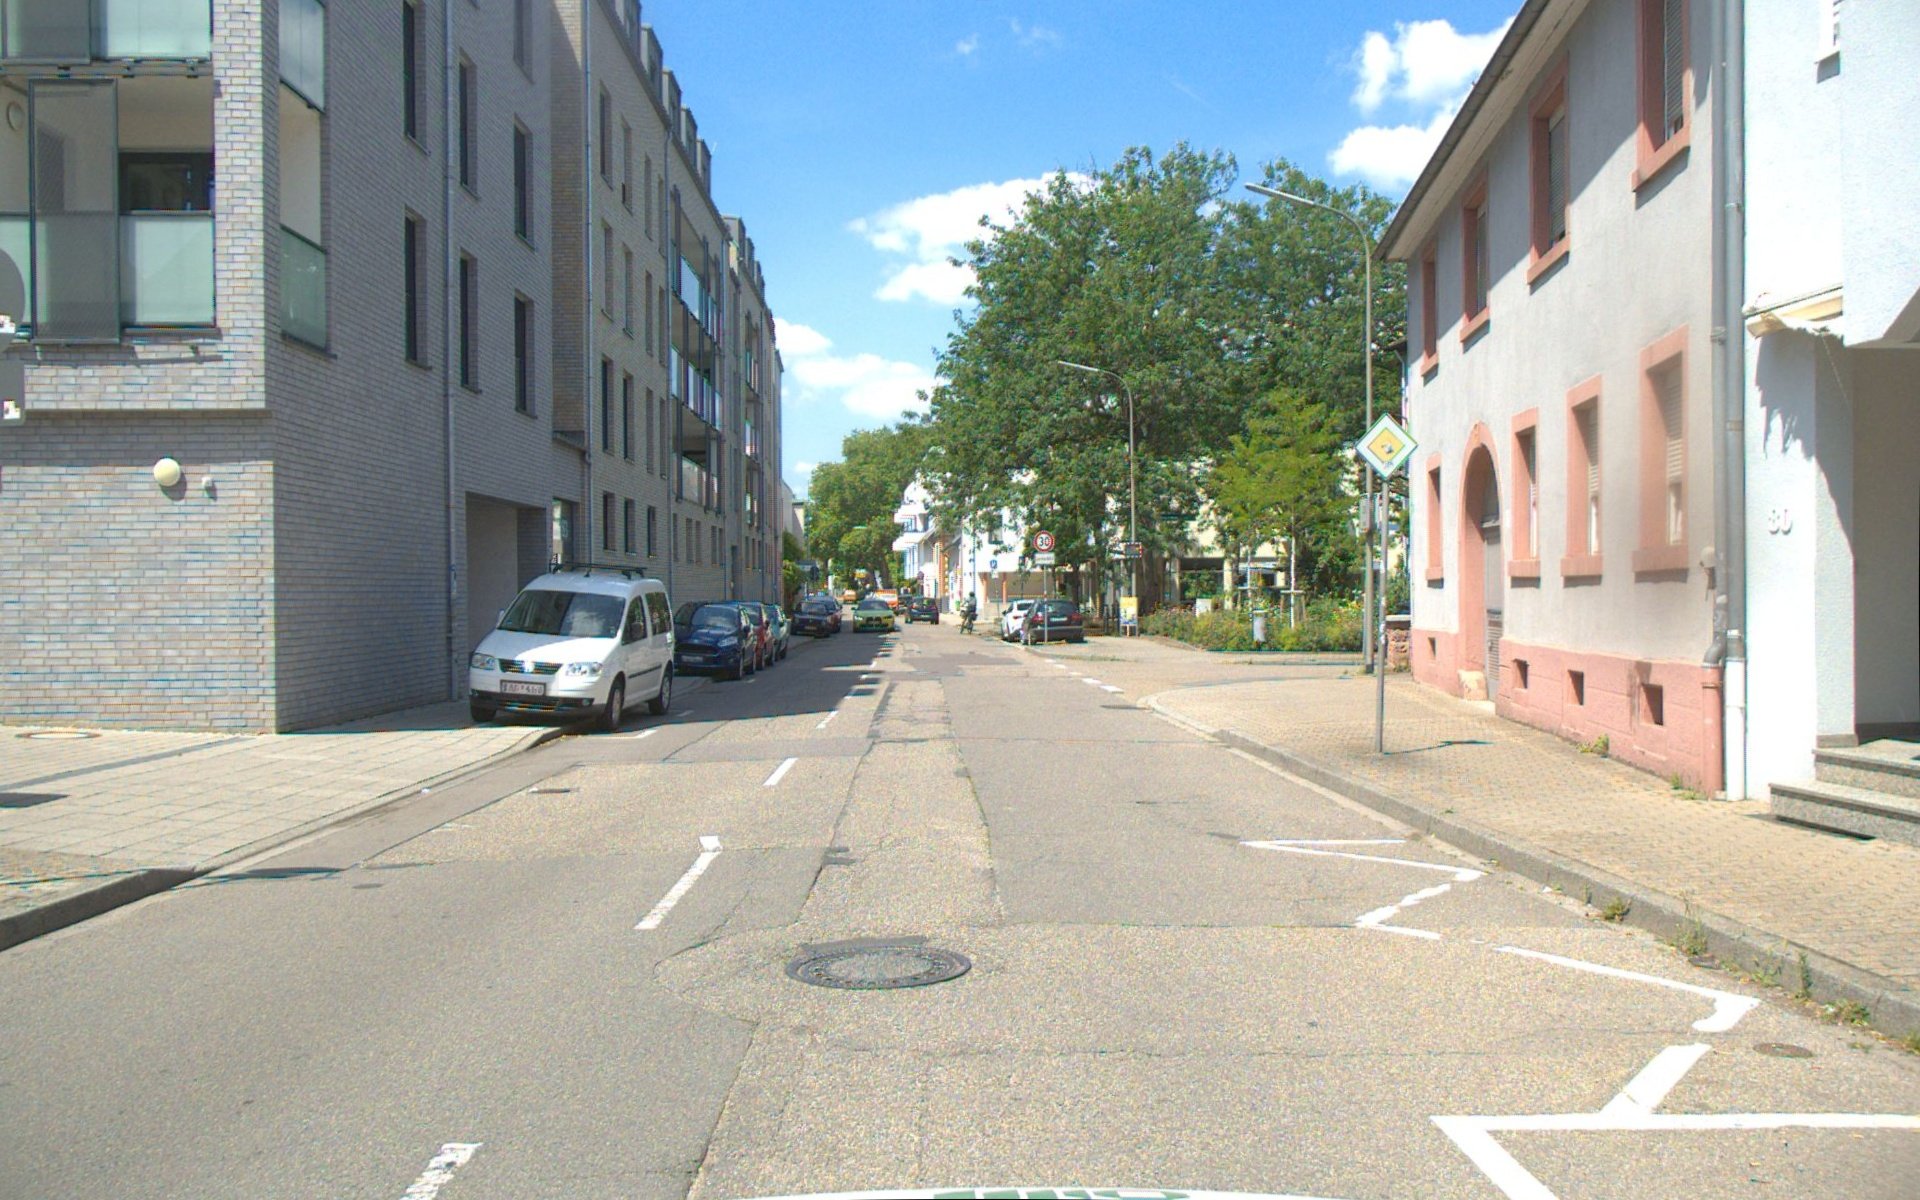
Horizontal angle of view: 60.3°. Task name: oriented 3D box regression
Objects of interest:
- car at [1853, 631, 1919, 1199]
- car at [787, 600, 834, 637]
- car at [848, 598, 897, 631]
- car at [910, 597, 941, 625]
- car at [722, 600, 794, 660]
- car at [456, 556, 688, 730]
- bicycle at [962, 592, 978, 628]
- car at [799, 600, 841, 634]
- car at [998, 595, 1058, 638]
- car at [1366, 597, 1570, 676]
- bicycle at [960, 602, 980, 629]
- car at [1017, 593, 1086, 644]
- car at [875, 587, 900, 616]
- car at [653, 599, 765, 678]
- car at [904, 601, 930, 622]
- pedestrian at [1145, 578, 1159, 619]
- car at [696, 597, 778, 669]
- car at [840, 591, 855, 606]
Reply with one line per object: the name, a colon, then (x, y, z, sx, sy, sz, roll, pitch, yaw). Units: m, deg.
car: (2.626, 0.767, 1.492, 1.586, 1.410, 3.536, 0, 0, -3)
car: (-6.172, 0.765, 68.567, 1.697, 1.467, 3.998, -1, 0, -2)
car: (-3.892, 0.622, 74.117, 1.953, 1.405, 4.392, 1, 0, 0)
car: (-1.935, 0.588, 91.758, 1.681, 1.426, 3.999, -1, 1, -2)
car: (-5.316, 0.764, 43.811, 1.559, 1.481, 3.702, 1, 0, -2)
car: (-4.784, 0.476, 21.021, 1.720, 1.925, 4.338, 2, 0, 2)
bicycle: (0.426, 0.411, 70.328, 0.470, 1.516, 0.572, 0, 0, -21)
car: (-6.204, 0.726, 73.709, 1.697, 1.467, 3.998, -1, 0, -2)
car: (2.370, 0.575, 58.461, 1.743, 1.445, 3.998, -1, 0, -3)
car: (10.111, 0.709, 33.087, 3.526, 1.474, 1.741, 0, 2, -3)
bicycle: (0.418, 0.660, 70.340, 0.476, 1.134, 1.188, -1, 0, -21)
car: (2.812, 0.559, 51.505, 1.659, 1.445, 3.998, -3, 0, -3)
car: (-5.372, 0.081, 122.974, 1.802, 2.049, 3.999, -1, 1, -1)
car: (-5.028, 0.736, 33.571, 1.688, 1.481, 4.004, 1, 0, -1)
car: (-3.492, 0.916, 134.456, 1.954, 1.646, 3.997, 0, 0, -3)
pedestrian: (8.906, -0.075, 76.614, 0.582, 1.891, 0.604, -1, 0, 11)
car: (-5.142, 0.726, 38.504, 1.559, 1.581, 3.569, 0, 0, -2)
car: (-15.730, -0.194, 231.320, 2.114, 2.049, 3.998, -1, 0, -3)
